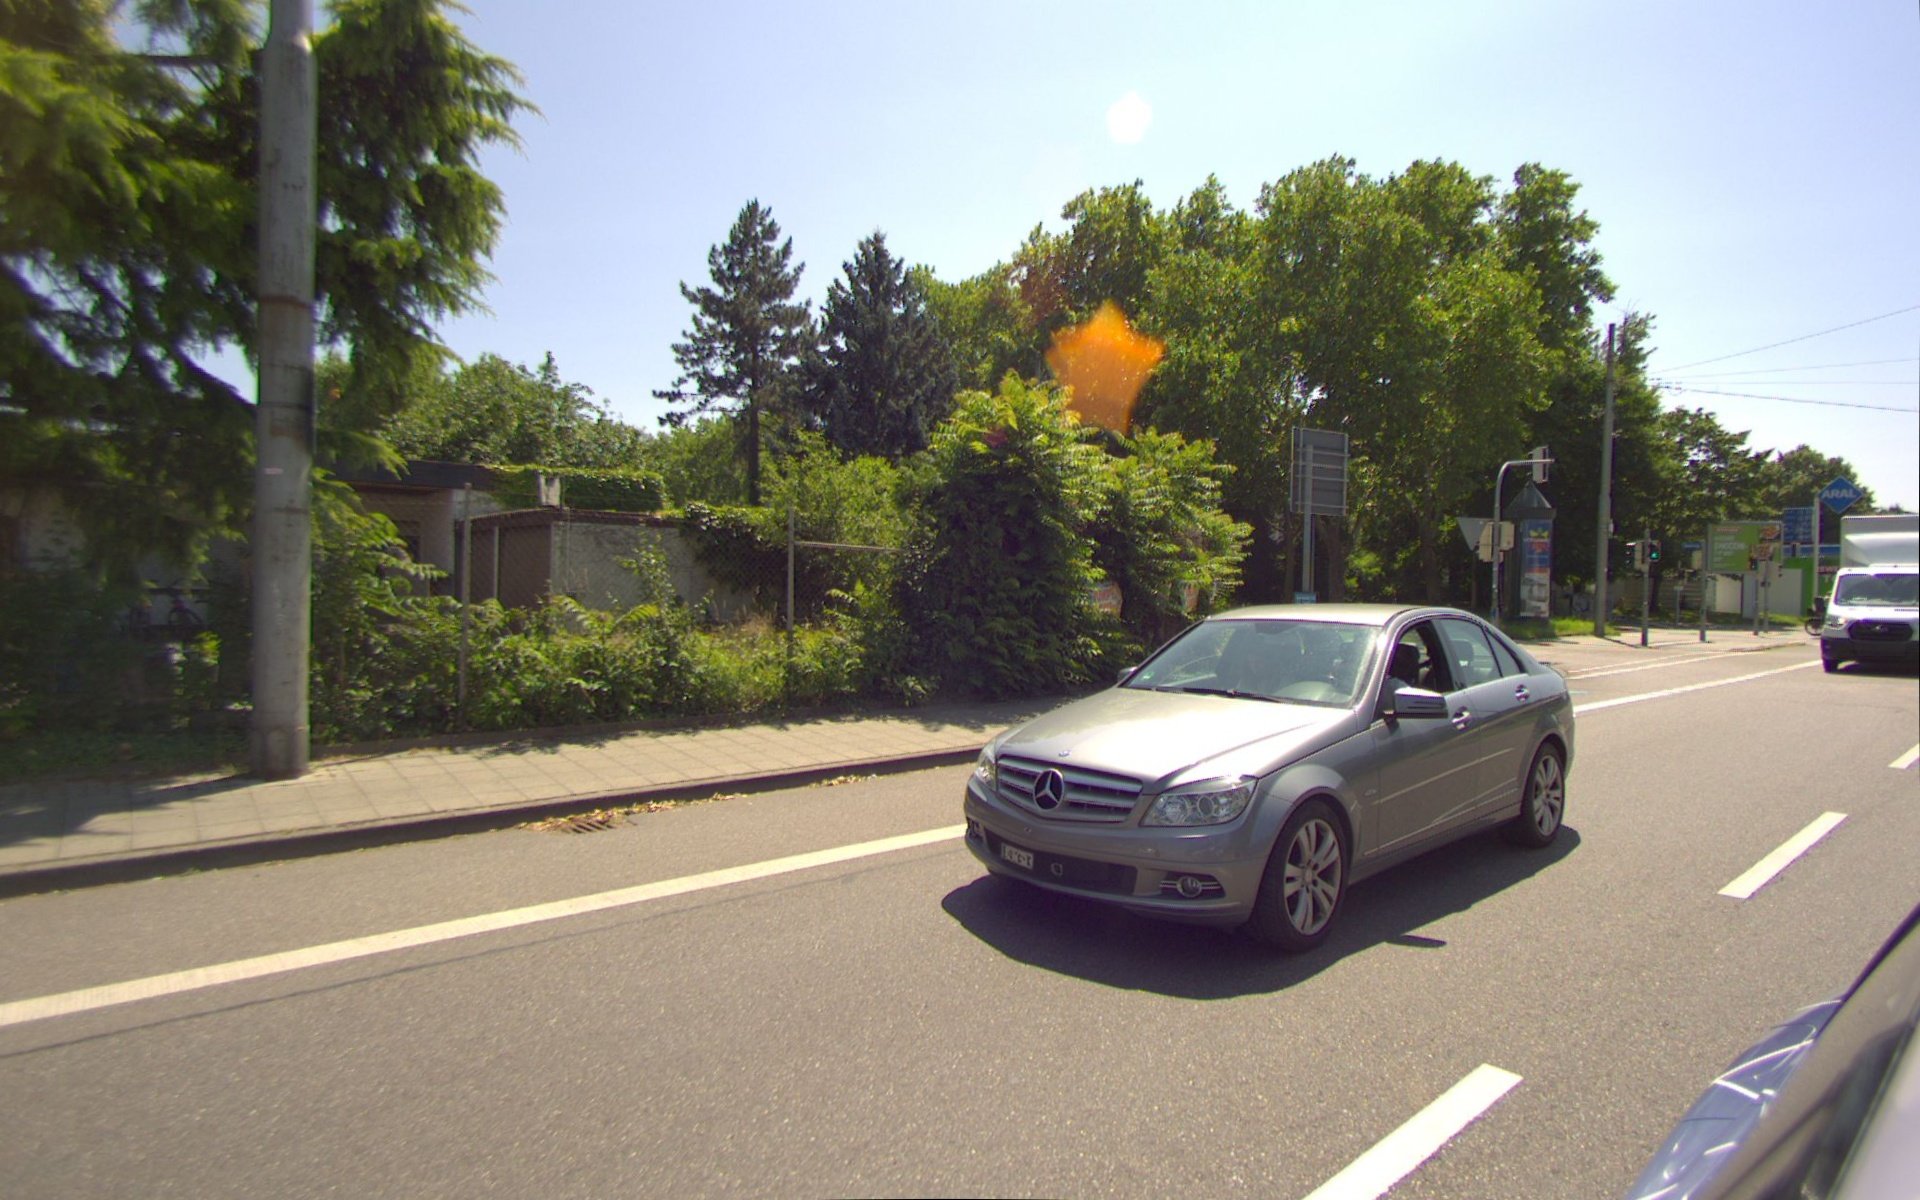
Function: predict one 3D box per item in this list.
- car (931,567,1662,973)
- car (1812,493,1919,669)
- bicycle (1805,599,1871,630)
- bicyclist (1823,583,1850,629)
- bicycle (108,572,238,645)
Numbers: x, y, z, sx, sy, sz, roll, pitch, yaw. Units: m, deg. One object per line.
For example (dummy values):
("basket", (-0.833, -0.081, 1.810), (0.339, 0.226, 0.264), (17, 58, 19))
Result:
("car", (2.386, 0.653, 6.079), (5.207, 1.492, 1.716), (1, -1, -40))
("car", (21.297, -0.351, 22.386), (8.480, 3.378, 2.228), (0, 0, -39))
("bicycle", (35.160, 0.556, 40.544), (0.880, 1.174, 1.951), (0, 1, -45))
("bicyclist", (35.146, 0.235, 40.578), (0.724, 1.810, 0.961), (1, 1, 45))
("bicycle", (-13.389, 0.140, 17.200), (2.457, 1.183, 0.654), (0, 0, 23))
